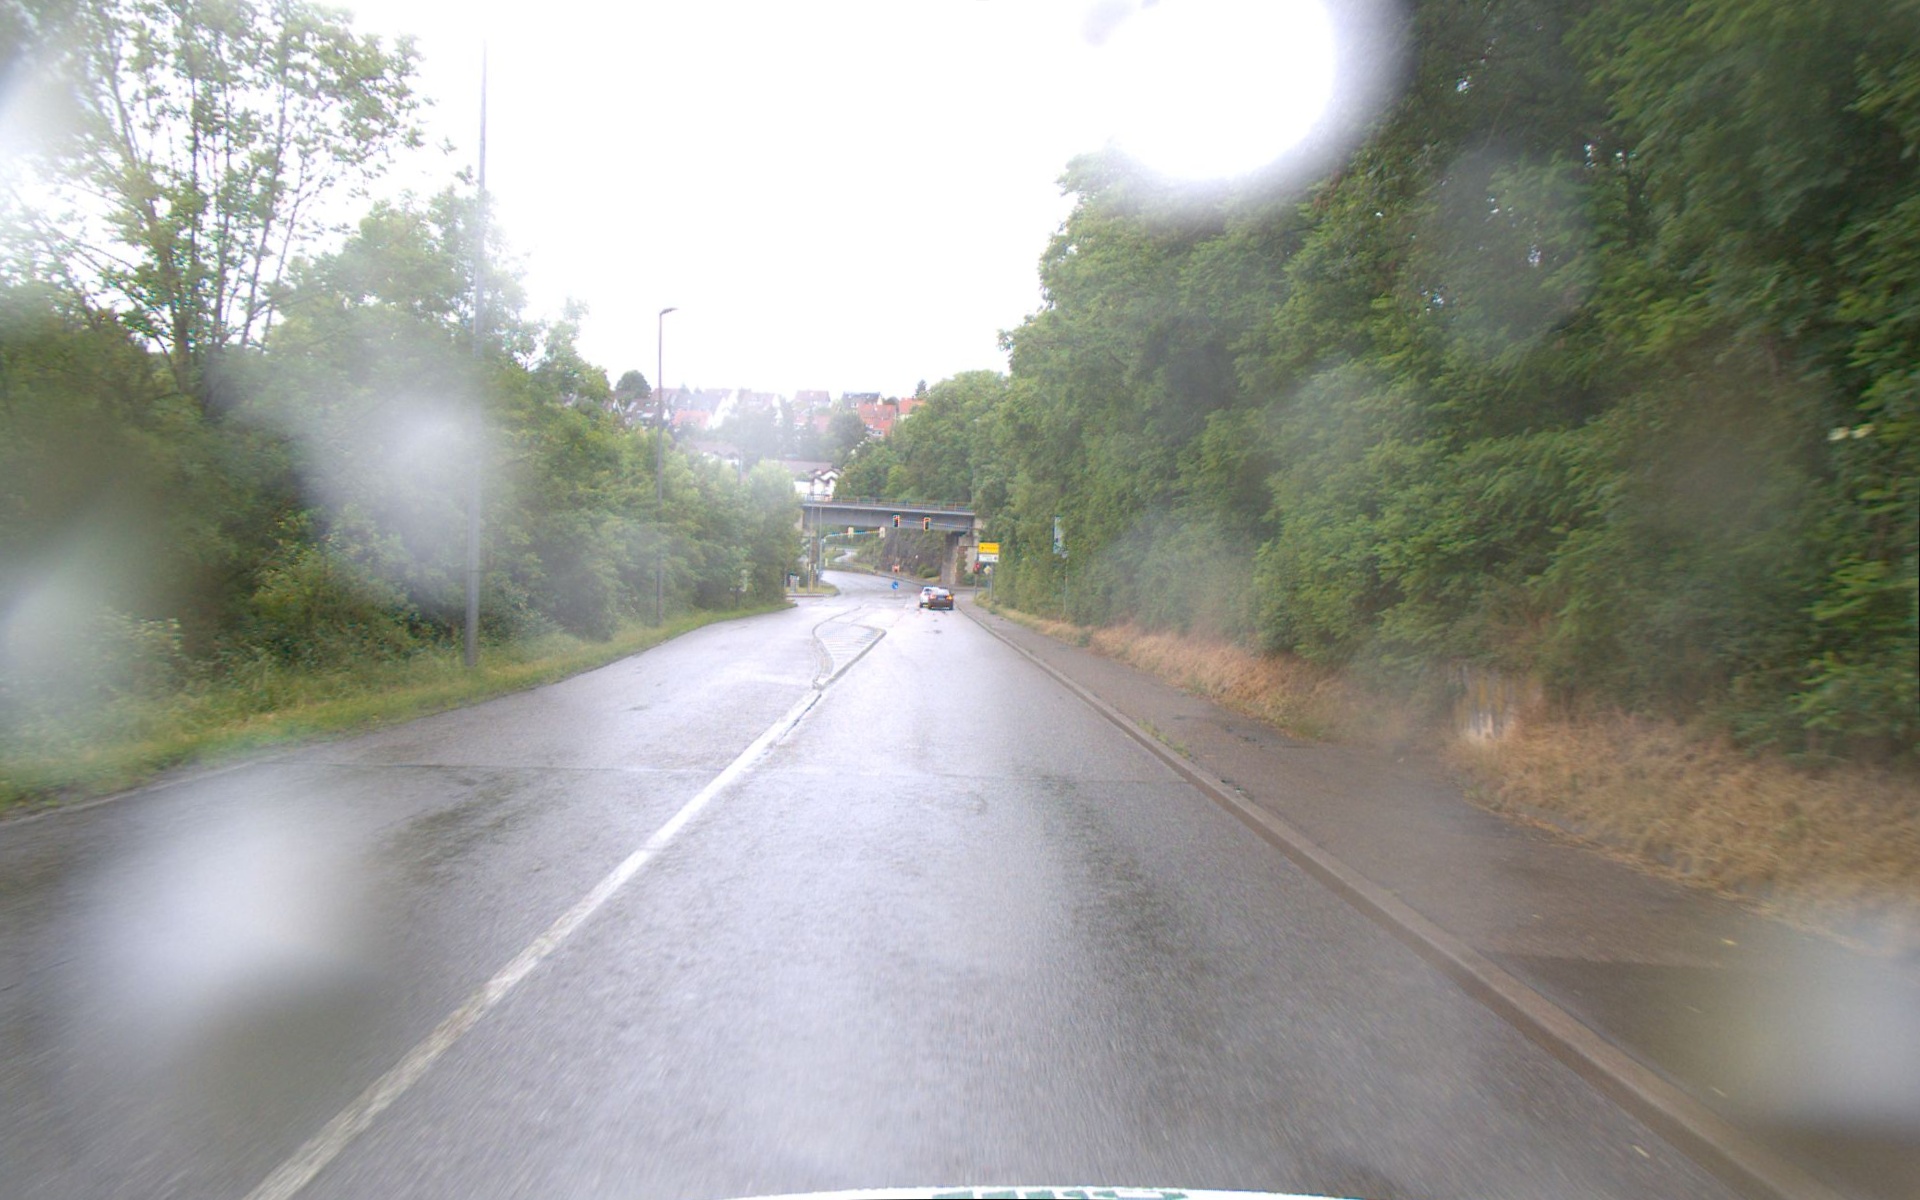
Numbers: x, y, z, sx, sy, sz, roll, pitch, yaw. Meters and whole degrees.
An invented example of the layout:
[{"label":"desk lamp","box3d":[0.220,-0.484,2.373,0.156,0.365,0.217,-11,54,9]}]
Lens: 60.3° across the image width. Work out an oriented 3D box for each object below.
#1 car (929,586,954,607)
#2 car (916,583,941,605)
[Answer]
[{"label":"car","box3d":[-1.290,-0.233,115.298,1.732,1.404,4.000,1,0,0]},{"label":"car","box3d":[-2.308,-0.456,121.940,1.732,1.590,4.000,1,0,0]}]
